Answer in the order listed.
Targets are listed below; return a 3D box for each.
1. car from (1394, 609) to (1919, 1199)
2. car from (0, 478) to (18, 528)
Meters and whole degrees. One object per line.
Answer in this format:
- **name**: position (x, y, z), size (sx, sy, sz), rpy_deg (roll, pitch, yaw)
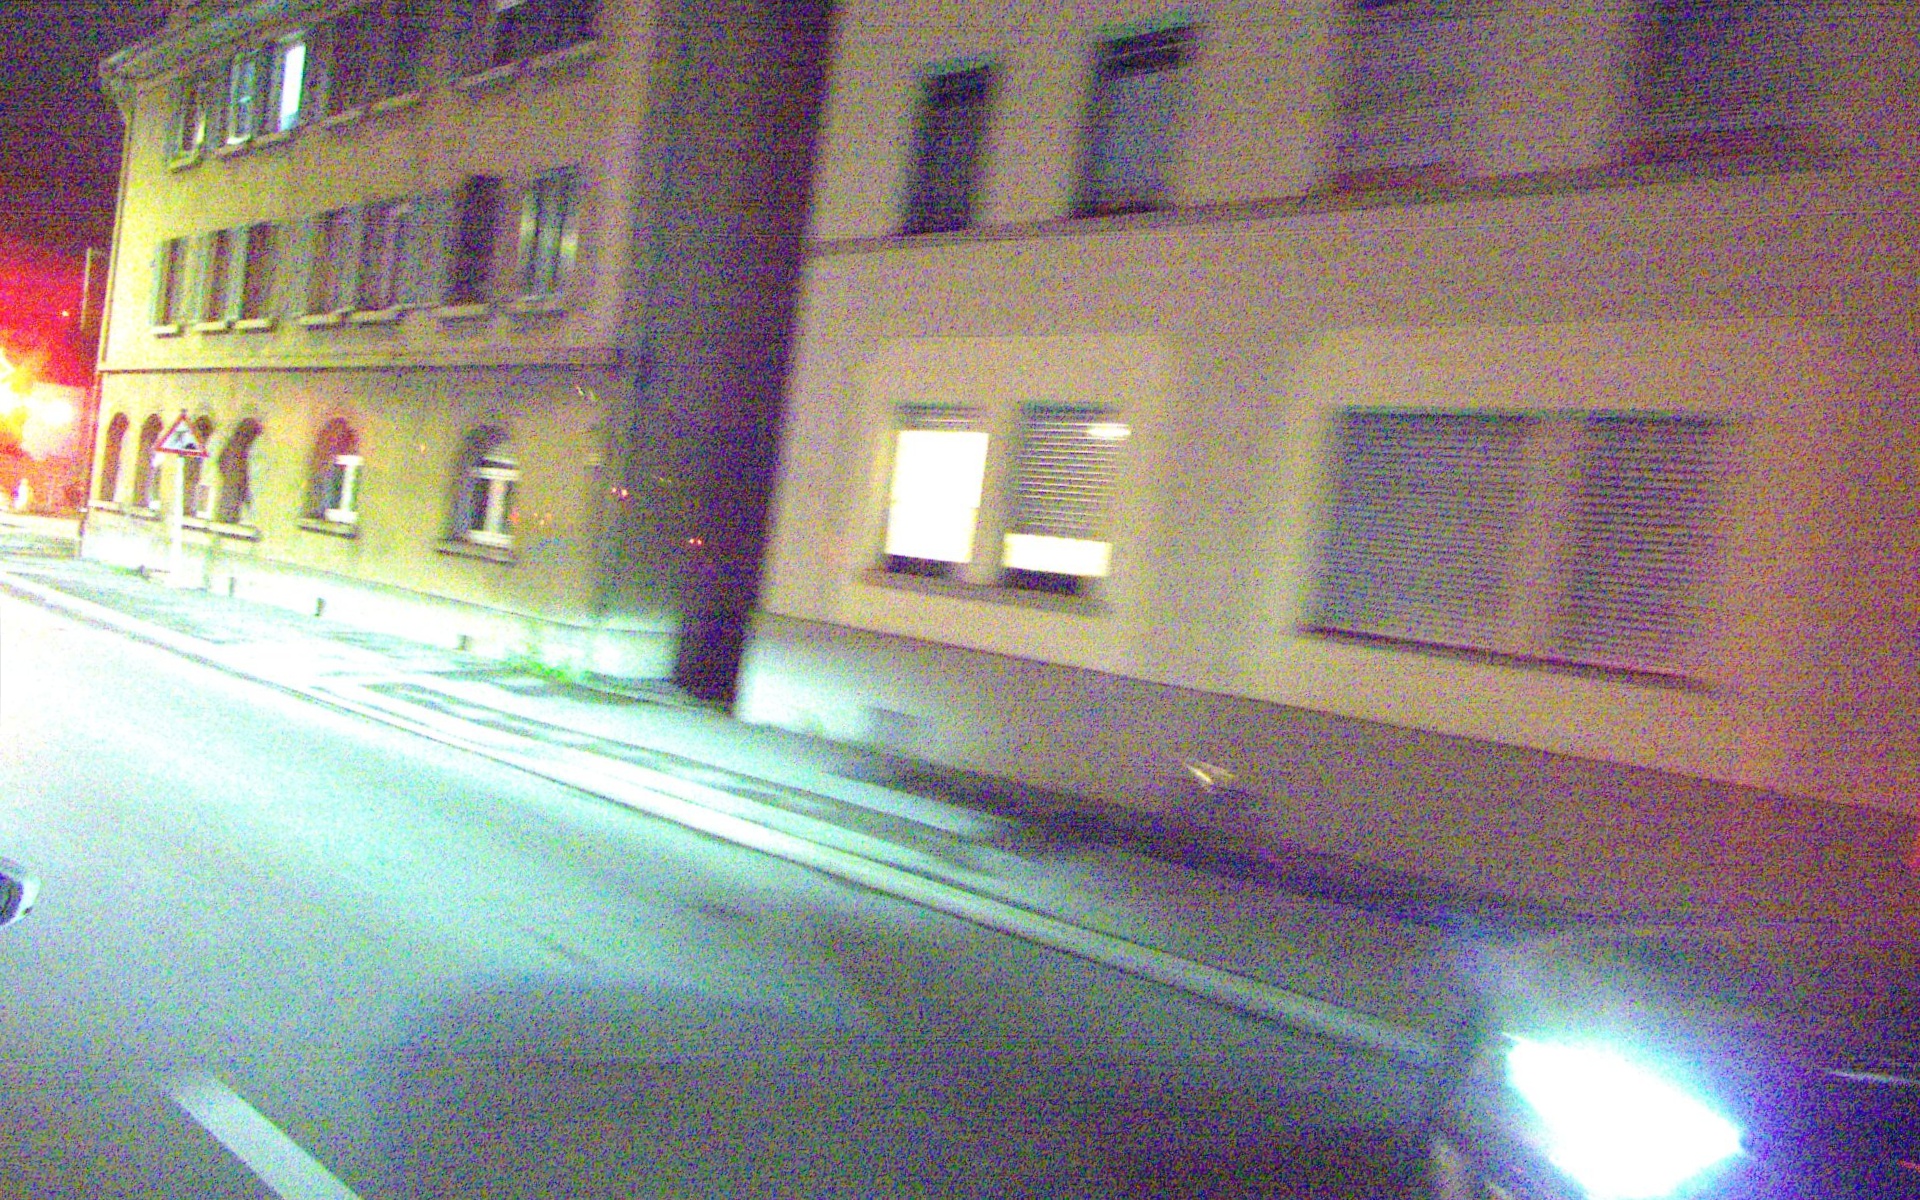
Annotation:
- **car**: position (2.950, 1.094, 1.389), size (4.158, 1.629, 1.673), rpy_deg (6, -1, 30)
- **car**: position (-31.539, -3.253, 30.461), size (3.954, 1.509, 1.697), rpy_deg (8, -1, -28)
